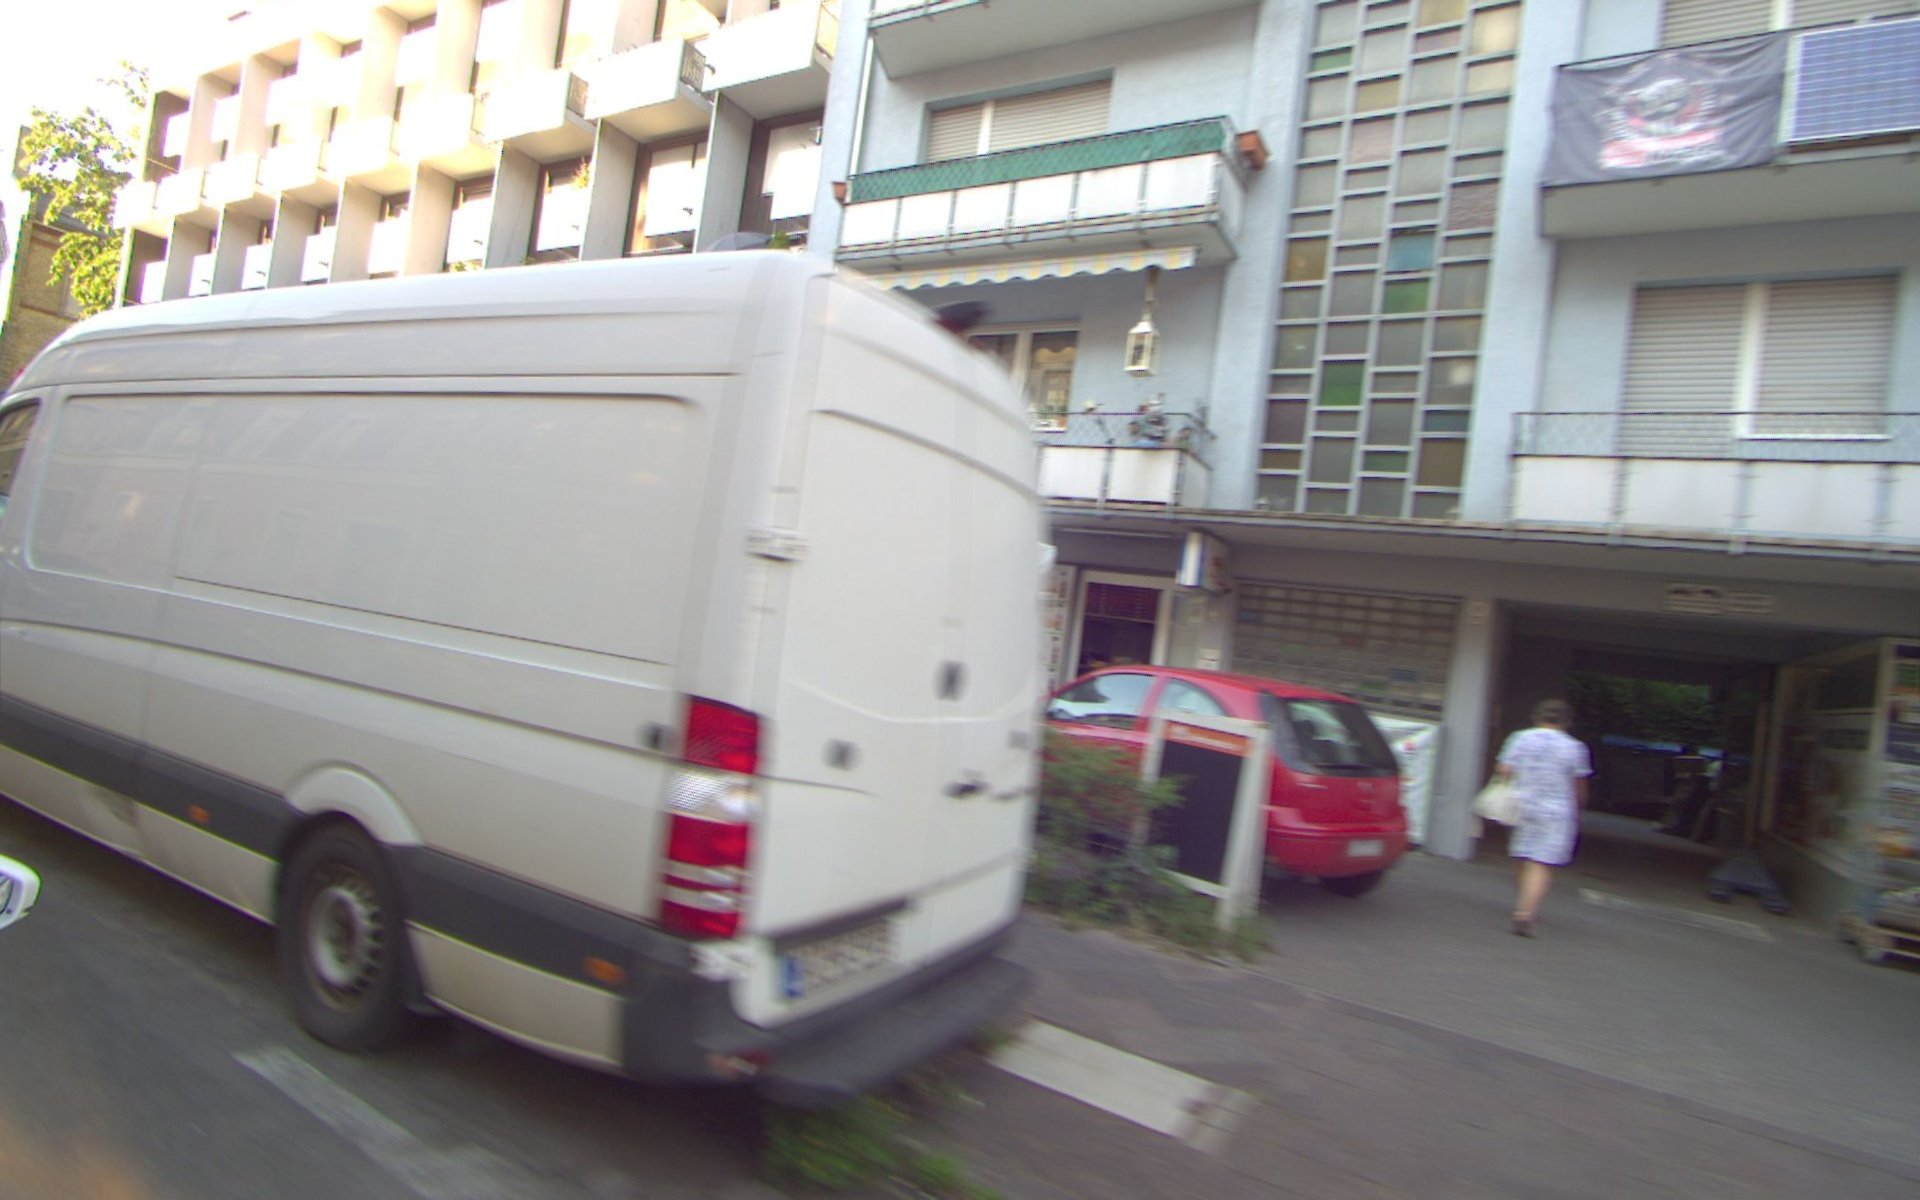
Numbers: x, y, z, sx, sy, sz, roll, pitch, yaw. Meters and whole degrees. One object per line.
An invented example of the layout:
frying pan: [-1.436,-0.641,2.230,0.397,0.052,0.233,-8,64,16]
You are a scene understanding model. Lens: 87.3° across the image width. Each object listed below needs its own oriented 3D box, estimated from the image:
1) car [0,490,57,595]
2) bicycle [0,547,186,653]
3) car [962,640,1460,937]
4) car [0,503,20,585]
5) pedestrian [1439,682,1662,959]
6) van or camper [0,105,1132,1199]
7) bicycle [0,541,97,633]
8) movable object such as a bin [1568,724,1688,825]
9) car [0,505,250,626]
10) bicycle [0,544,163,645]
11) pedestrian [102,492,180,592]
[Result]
car: [-19.608,-1.402,18.010,1.966,1.879,4.583,7,-3,30]
bicycle: [-10.410,0.009,11.699,0.711,1.061,2.048,7,-2,24]
car: [1.661,1.220,7.476,1.591,1.432,3.198,9,-2,-35]
car: [-21.789,-1.512,19.708,1.765,1.694,4.472,7,-3,26]
pedestrian: [3.917,1.417,6.768,0.859,1.575,0.874,7,1,9]
van or camper: [-3.144,-0.091,5.030,7.384,2.633,2.104,7,-1,30]
bicycle: [-12.423,-0.221,12.878,0.668,1.079,1.901,7,-2,34]
movable object such as a bin: [12.644,3.289,19.133,1.623,1.569,1.465,7,-4,30]
car: [-13.468,-0.562,14.701,1.810,1.484,4.631,7,0,31]
bicycle: [-11.043,-0.071,12.144,0.712,1.061,2.047,7,-2,26]
pedestrian: [-17.717,-1.247,21.762,1.082,1.967,0.861,9,-2,-41]
